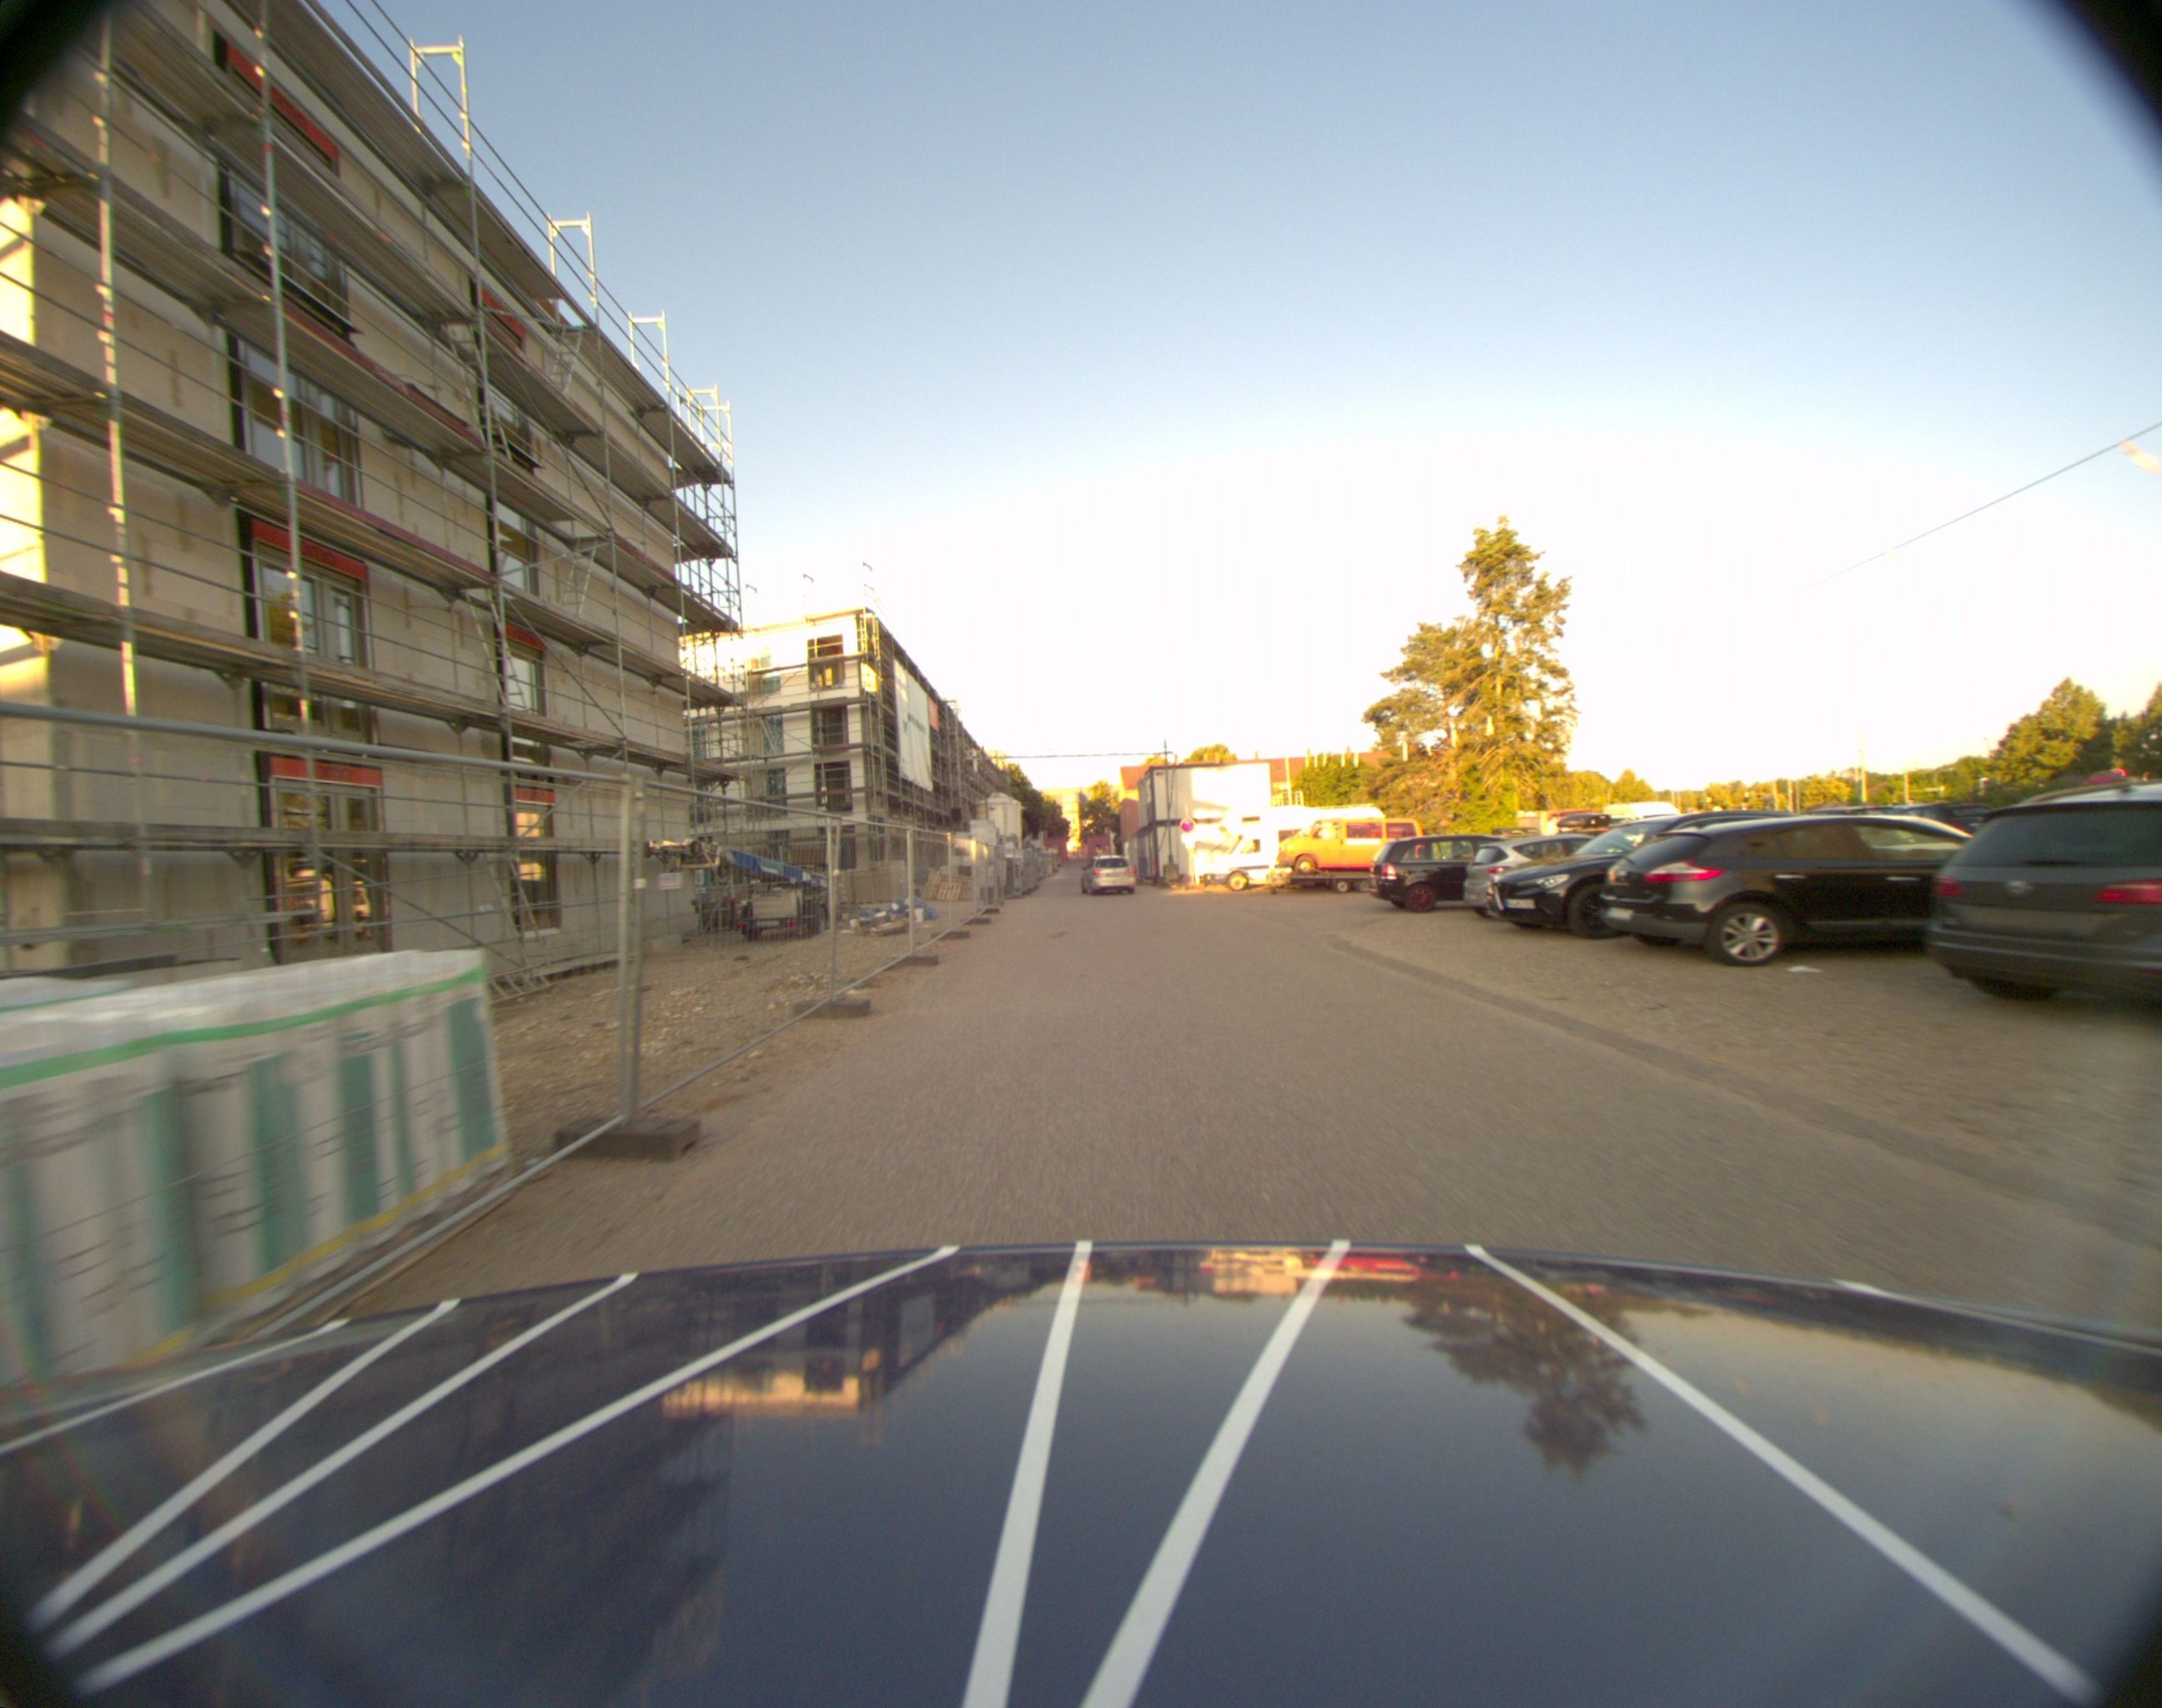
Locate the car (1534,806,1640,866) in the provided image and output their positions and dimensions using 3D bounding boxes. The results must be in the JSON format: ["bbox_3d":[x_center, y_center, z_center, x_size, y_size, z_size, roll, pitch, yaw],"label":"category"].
[{"bbox_3d":[20.657,-0.638,31.285,1.846,2.135,4.827,-3,-2,12],"label":"car"}]

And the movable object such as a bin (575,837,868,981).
[{"bbox_3d":[-7.012,0.878,16.502,2.070,2.260,8.368,-2,0,2],"label":"movable object such as a bin"}]

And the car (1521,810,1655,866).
[{"bbox_3d":[15.908,-0.484,24.105,1.847,1.514,3.939,-3,0,5],"label":"car"}]

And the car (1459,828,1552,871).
[{"bbox_3d":[17.728,-0.106,32.001,1.847,1.558,4.827,-3,-2,10],"label":"car"}]

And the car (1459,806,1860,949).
[{"bbox_3d":[7.836,0.328,10.650,4.099,1.618,1.821,-3,-1,3],"label":"car"}]

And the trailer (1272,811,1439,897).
[{"bbox_3d":[9.102,-0.023,25.566,4.802,2.419,2.134,-4,2,7],"label":"trailer"}]

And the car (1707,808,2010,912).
[{"bbox_3d":[13.726,0.071,13.843,1.846,1.514,4.154,-3,0,12],"label":"car"}]

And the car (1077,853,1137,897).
[{"bbox_3d":[1.023,0.823,31.608,1.676,1.610,4.282,-4,0,-8],"label":"car"}]

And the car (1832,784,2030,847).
[{"bbox_3d":[25.825,-1.111,23.318,1.847,1.659,3.940,-3,0,6],"label":"car"}]

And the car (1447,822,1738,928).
[{"bbox_3d":[9.103,0.393,13.873,3.933,1.512,1.810,-5,-1,10],"label":"car"}]

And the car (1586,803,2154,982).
[{"bbox_3d":[7.924,0.387,8.037,3.932,1.508,1.644,-3,1,10],"label":"car"}]

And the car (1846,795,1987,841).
[{"bbox_3d":[39.834,-1.637,36.449,2.054,1.925,5.110,-3,0,15],"label":"car"}]

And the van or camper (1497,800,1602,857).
[{"bbox_3d":[25.370,-1.293,41.482,2.261,2.754,5.801,-3,0,3],"label":"van or camper"}]

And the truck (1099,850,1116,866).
[{"bbox_3d":[3.754,0.622,108.090,1.842,2.089,3.738,-5,1,-6],"label":"truck"}]

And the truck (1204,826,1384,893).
[{"bbox_3d":[7.811,0.205,28.462,6.025,2.031,2.356,-4,0,3],"label":"truck"}]

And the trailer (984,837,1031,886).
[{"bbox_3d":[-4.651,0.445,49.179,2.581,2.895,6.236,-2,0,-3],"label":"trailer"}]

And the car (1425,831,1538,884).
[{"bbox_3d":[12.993,0.091,24.930,1.847,1.514,3.939,-3,0,5],"label":"car"}]

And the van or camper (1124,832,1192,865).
[{"bbox_3d":[7.742,-0.541,77.173,6.470,2.625,2.407,-6,0,2],"label":"van or camper"}]

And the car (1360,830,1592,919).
[{"bbox_3d":[8.422,0.434,16.565,4.043,1.610,1.850,-3,1,10],"label":"car"}]

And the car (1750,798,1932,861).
[{"bbox_3d":[23.159,-0.717,23.398,1.847,1.659,3.940,-3,0,6],"label":"car"}]

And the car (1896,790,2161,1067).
[{"bbox_3d":[8.112,0.311,4.763,3.934,1.571,1.644,-3,0,6],"label":"car"}]

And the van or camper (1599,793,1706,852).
[{"bbox_3d":[29.522,-1.556,39.536,2.206,2.692,5.753,-3,0,13],"label":"van or camper"}]
